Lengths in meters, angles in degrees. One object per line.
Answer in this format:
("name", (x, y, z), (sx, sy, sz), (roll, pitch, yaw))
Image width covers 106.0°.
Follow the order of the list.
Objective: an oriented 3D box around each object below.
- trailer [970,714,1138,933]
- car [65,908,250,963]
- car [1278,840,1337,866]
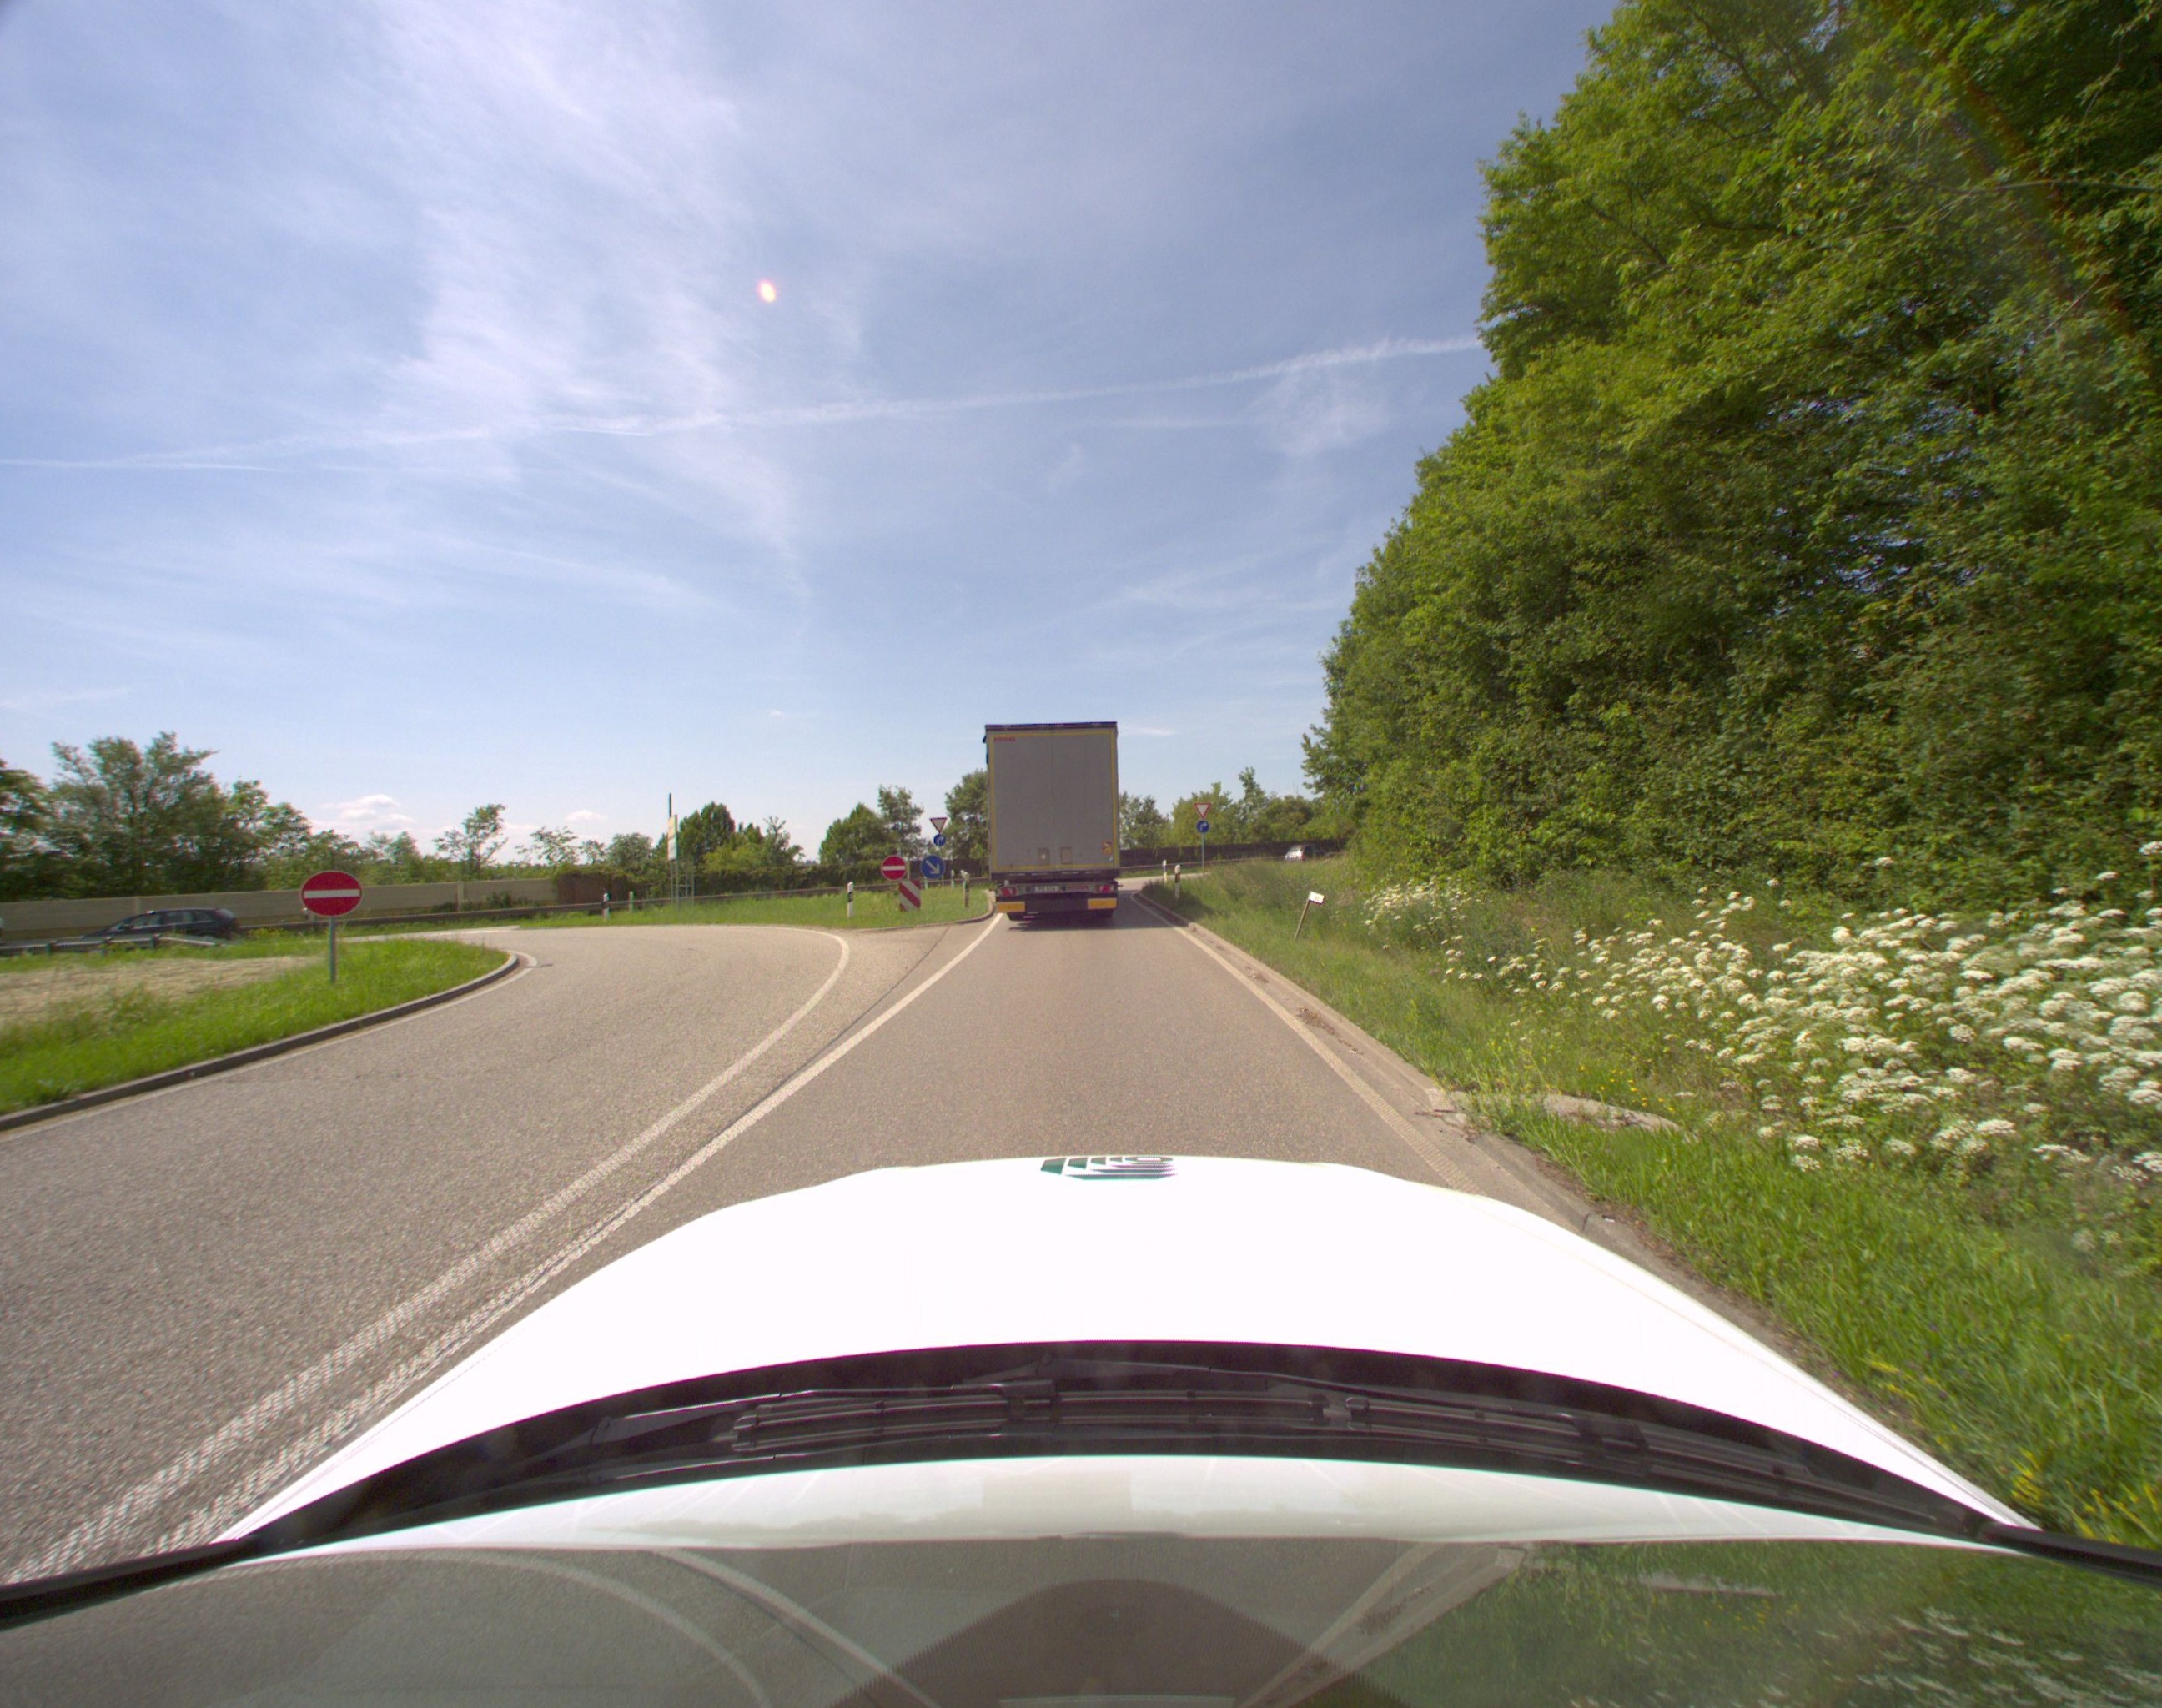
("trailer", (-0.558, -0.575, 22.182), (3.018, 4.034, 13.347), (-2, 0, 0))
("car", (-33.792, 2.951, 29.979), (4.120, 1.539, 1.738), (-3, 0, -30))
("car", (14.743, -0.059, 52.915), (4.022, 1.486, 1.651), (-3, 0, -41))
